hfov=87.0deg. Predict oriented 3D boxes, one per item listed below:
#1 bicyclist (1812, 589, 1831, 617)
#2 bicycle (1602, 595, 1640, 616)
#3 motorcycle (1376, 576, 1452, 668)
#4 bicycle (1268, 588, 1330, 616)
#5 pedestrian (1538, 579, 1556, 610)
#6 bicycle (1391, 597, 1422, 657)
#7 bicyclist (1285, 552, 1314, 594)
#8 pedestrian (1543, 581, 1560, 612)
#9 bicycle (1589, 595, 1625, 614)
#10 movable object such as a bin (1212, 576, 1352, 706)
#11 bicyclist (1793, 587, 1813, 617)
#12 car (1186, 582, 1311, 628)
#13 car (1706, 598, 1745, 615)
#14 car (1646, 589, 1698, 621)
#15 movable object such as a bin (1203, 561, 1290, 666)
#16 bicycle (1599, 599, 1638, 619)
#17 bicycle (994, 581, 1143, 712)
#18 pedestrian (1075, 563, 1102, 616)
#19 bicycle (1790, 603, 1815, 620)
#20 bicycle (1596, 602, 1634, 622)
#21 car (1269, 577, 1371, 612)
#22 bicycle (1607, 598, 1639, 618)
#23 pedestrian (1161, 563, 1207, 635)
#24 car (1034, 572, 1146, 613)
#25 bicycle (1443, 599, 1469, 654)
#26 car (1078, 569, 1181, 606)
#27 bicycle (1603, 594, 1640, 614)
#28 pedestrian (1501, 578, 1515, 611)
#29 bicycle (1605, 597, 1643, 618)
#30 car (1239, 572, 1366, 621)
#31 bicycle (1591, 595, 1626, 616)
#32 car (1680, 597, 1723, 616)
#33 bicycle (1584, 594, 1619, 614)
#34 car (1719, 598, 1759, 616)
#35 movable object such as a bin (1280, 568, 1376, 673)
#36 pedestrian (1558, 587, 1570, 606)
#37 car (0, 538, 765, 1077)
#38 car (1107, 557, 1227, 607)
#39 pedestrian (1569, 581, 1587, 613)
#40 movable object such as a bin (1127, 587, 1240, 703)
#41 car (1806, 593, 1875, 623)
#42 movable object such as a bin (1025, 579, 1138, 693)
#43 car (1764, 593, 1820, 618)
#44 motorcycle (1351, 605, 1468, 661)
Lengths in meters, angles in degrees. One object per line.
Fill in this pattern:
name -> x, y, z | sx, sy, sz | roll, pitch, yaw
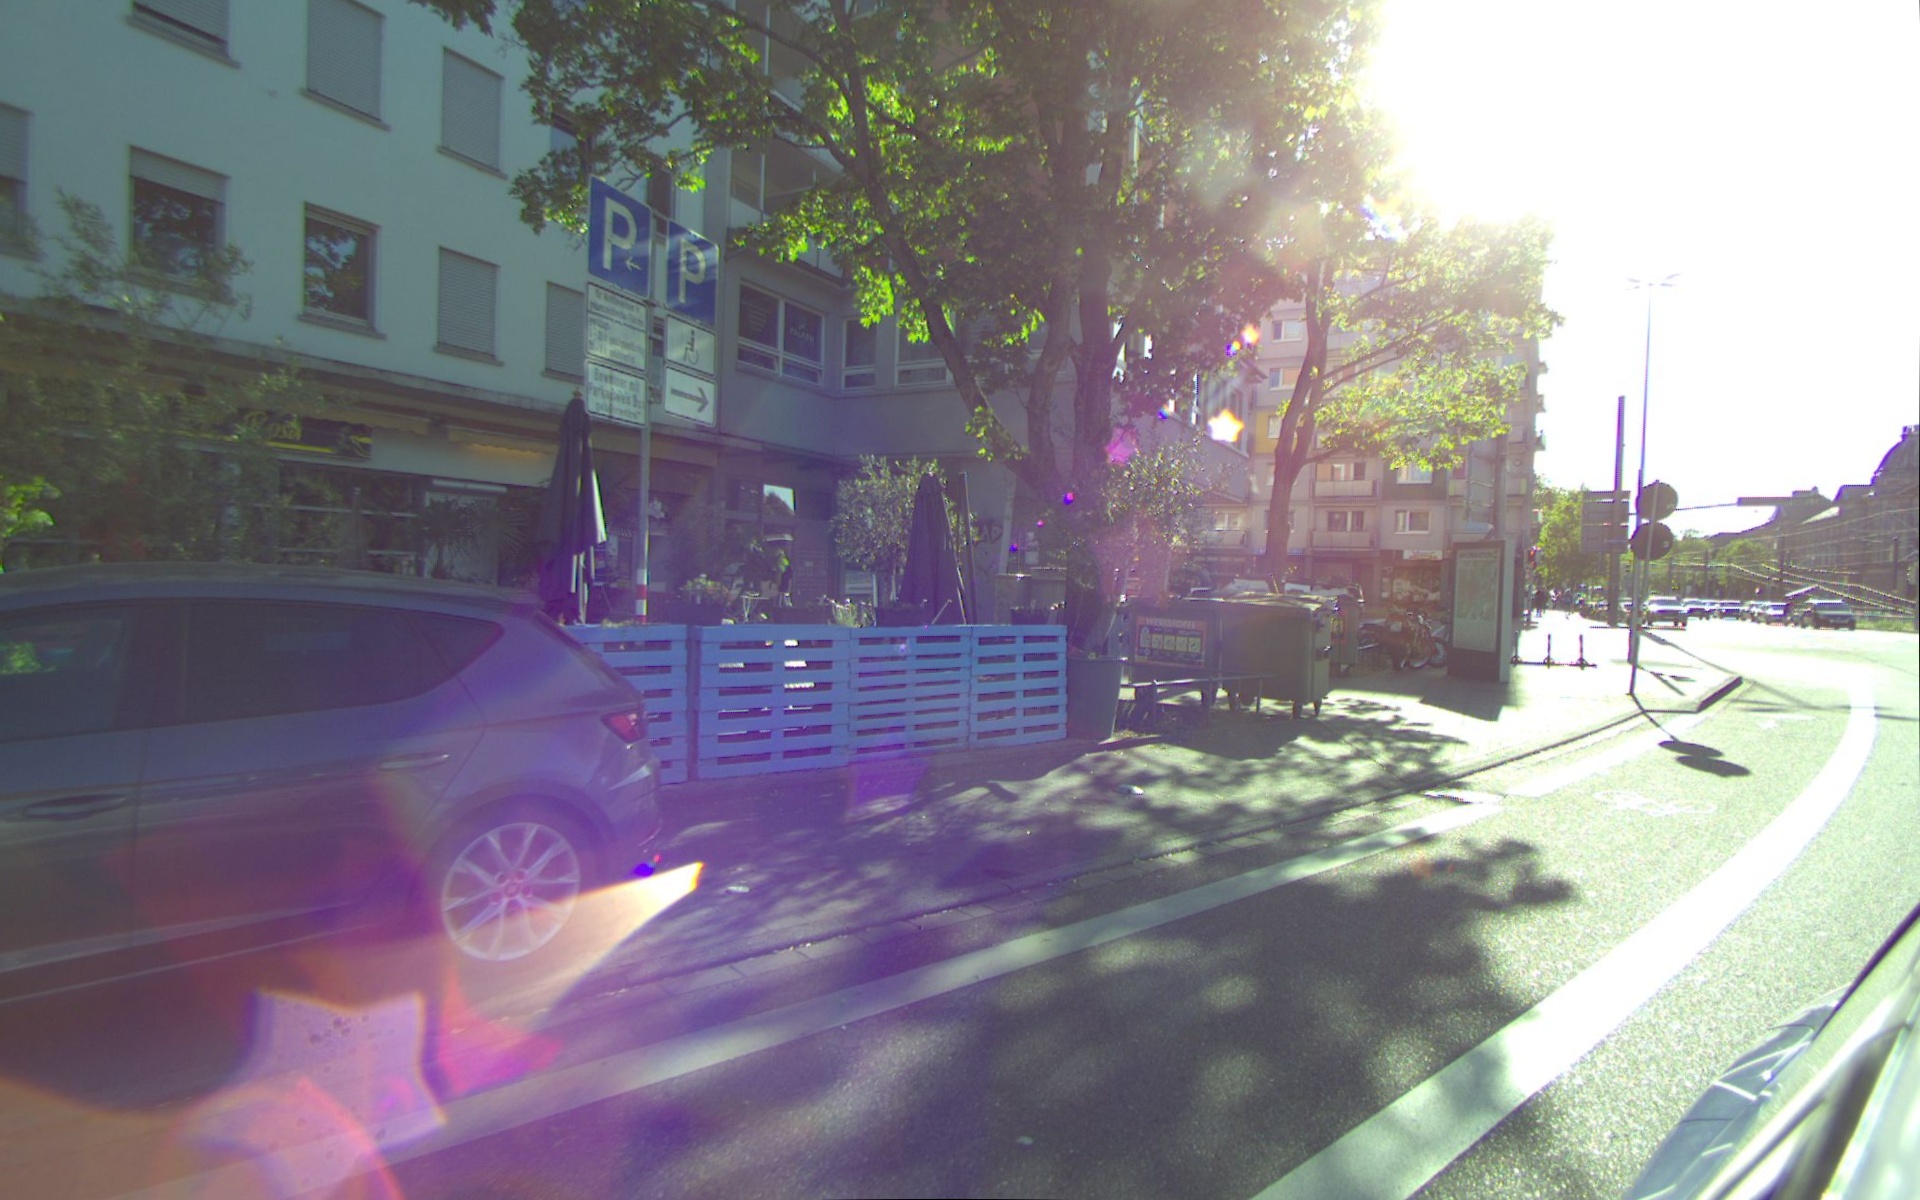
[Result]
bicyclist -> 51.451, 0.163, 60.429 | 0.688, 1.680, 0.910 | 0, 1, 28
bicycle -> 37.480, 0.289, 57.387 | 1.739, 1.113, 0.395 | 3, 2, 27
motorcycle -> 8.258, 0.359, 18.350 | 0.800, 1.559, 2.513 | 1, 1, 35
bicycle -> 12.865, 0.068, 38.395 | 2.128, 1.013, 0.853 | 0, 1, 28
pedestrian -> 36.194, -0.330, 62.459 | 0.858, 1.858, 1.199 | 2, 1, 28
bicycle -> 10.039, 0.572, 22.736 | 0.528, 1.259, 1.830 | 0, 1, 27
bicyclist -> 12.892, -1.022, 38.369 | 0.926, 1.579, 0.933 | 0, 1, 27
pedestrian -> 37.756, -0.240, 64.611 | 0.787, 1.909, 0.863 | 2, 1, 36
bicycle -> 40.719, 0.291, 63.722 | 1.805, 1.073, 0.412 | 3, 2, 25
movable object such as a bin -> 3.736, 0.425, 11.767 | 0.906, 1.409, 1.282 | -1, 1, -43
bicyclist -> 50.678, 0.118, 60.848 | 0.696, 1.751, 0.847 | 0, 1, 23
car -> 10.455, 0.130, 36.721 | 4.124, 1.520, 1.829 | 0, 3, 28
car -> 65.174, 0.532, 86.222 | 1.970, 1.308, 4.284 | 2, 1, 28
car -> 41.113, 0.273, 58.501 | 1.886, 1.708, 4.077 | 2, 1, 28
movable object such as a bin -> 5.024, 0.204, 17.721 | 1.248, 1.729, 0.936 | 2, 2, 28
bicycle -> 37.864, 0.507, 58.193 | 1.801, 1.096, 0.526 | 0, 1, 26
bicycle -> 1.127, 0.446, 11.181 | 0.880, 1.266, 2.174 | 1, 1, -15
pedestrian -> 4.395, -0.357, 34.647 | 0.841, 1.801, 0.899 | 0, 1, 2
bicycle -> 50.685, 0.695, 60.872 | 0.624, 0.951, 1.891 | 0, 1, 23
bicycle -> 38.261, 0.698, 59.149 | 1.759, 1.068, 0.411 | 4, 2, 28
car -> 15.536, -0.258, 43.652 | 3.962, 1.458, 1.831 | 0, 1, 28
bicycle -> 36.358, 0.436, 55.510 | 1.422, 1.023, 0.406 | 4, 3, 31
pedestrian -> 5.932, -0.051, 26.838 | 0.875, 1.867, 0.828 | -1, 1, -39
car -> 5.100, -0.340, 39.972 | 4.124, 1.444, 1.563 | 2, 3, 28
bicycle -> 11.106, 0.558, 22.685 | 0.472, 1.130, 2.102 | 0, 1, 25
car -> 7.829, -0.596, 46.883 | 4.351, 1.554, 1.806 | 3, 2, 33
bicycle -> 37.264, 0.236, 57.032 | 1.740, 1.089, 0.402 | 0, 1, 27
pedestrian -> 30.175, -0.307, 55.694 | 0.566, 1.795, 0.656 | 2, 1, 36
bicycle -> 36.985, 0.406, 56.366 | 1.688, 1.023, 0.407 | 4, 2, 26
car -> 13.687, -0.158, 40.472 | 4.561, 1.873, 1.927 | 0, 1, 29
bicycle -> 40.131, 0.333, 62.637 | 1.764, 1.244, 0.412 | 2, 2, 25
car -> 56.346, 0.459, 76.954 | 1.970, 1.308, 4.350 | 2, 1, 28
bicycle -> 41.061, 0.264, 64.792 | 1.804, 1.188, 0.697 | 2, 2, 25
car -> 60.942, 0.533, 79.232 | 1.843, 1.308, 4.055 | 2, 1, 28
movable object such as a bin -> 6.171, 0.308, 16.974 | 1.372, 1.660, 0.998 | 1, 1, 28
pedestrian -> 54.528, -0.326, 91.378 | 0.770, 1.671, 0.661 | 2, 1, 41
car -> -3.121, 0.530, 3.458 | 4.501, 1.456, 1.770 | 1, 2, -40
car -> 10.087, -0.892, 49.443 | 5.219, 2.226, 2.349 | 3, 2, 34
pedestrian -> 35.955, -0.185, 58.870 | 0.784, 1.799, 0.866 | 2, 1, 28
movable object such as a bin -> 2.809, 0.524, 12.681 | 1.166, 1.373, 0.918 | 0, 1, 31
car -> 48.941, 0.416, 56.350 | 1.982, 1.556, 4.314 | 0, 1, 28
movable object such as a bin -> 1.593, 0.434, 13.261 | 1.206, 1.408, 0.949 | 0, 1, 31
car -> 53.638, 0.335, 65.298 | 1.982, 1.447, 4.092 | 0, 1, 28
motorcycle -> 9.014, 0.647, 20.338 | 2.085, 1.034, 0.754 | 1, 0, 31
